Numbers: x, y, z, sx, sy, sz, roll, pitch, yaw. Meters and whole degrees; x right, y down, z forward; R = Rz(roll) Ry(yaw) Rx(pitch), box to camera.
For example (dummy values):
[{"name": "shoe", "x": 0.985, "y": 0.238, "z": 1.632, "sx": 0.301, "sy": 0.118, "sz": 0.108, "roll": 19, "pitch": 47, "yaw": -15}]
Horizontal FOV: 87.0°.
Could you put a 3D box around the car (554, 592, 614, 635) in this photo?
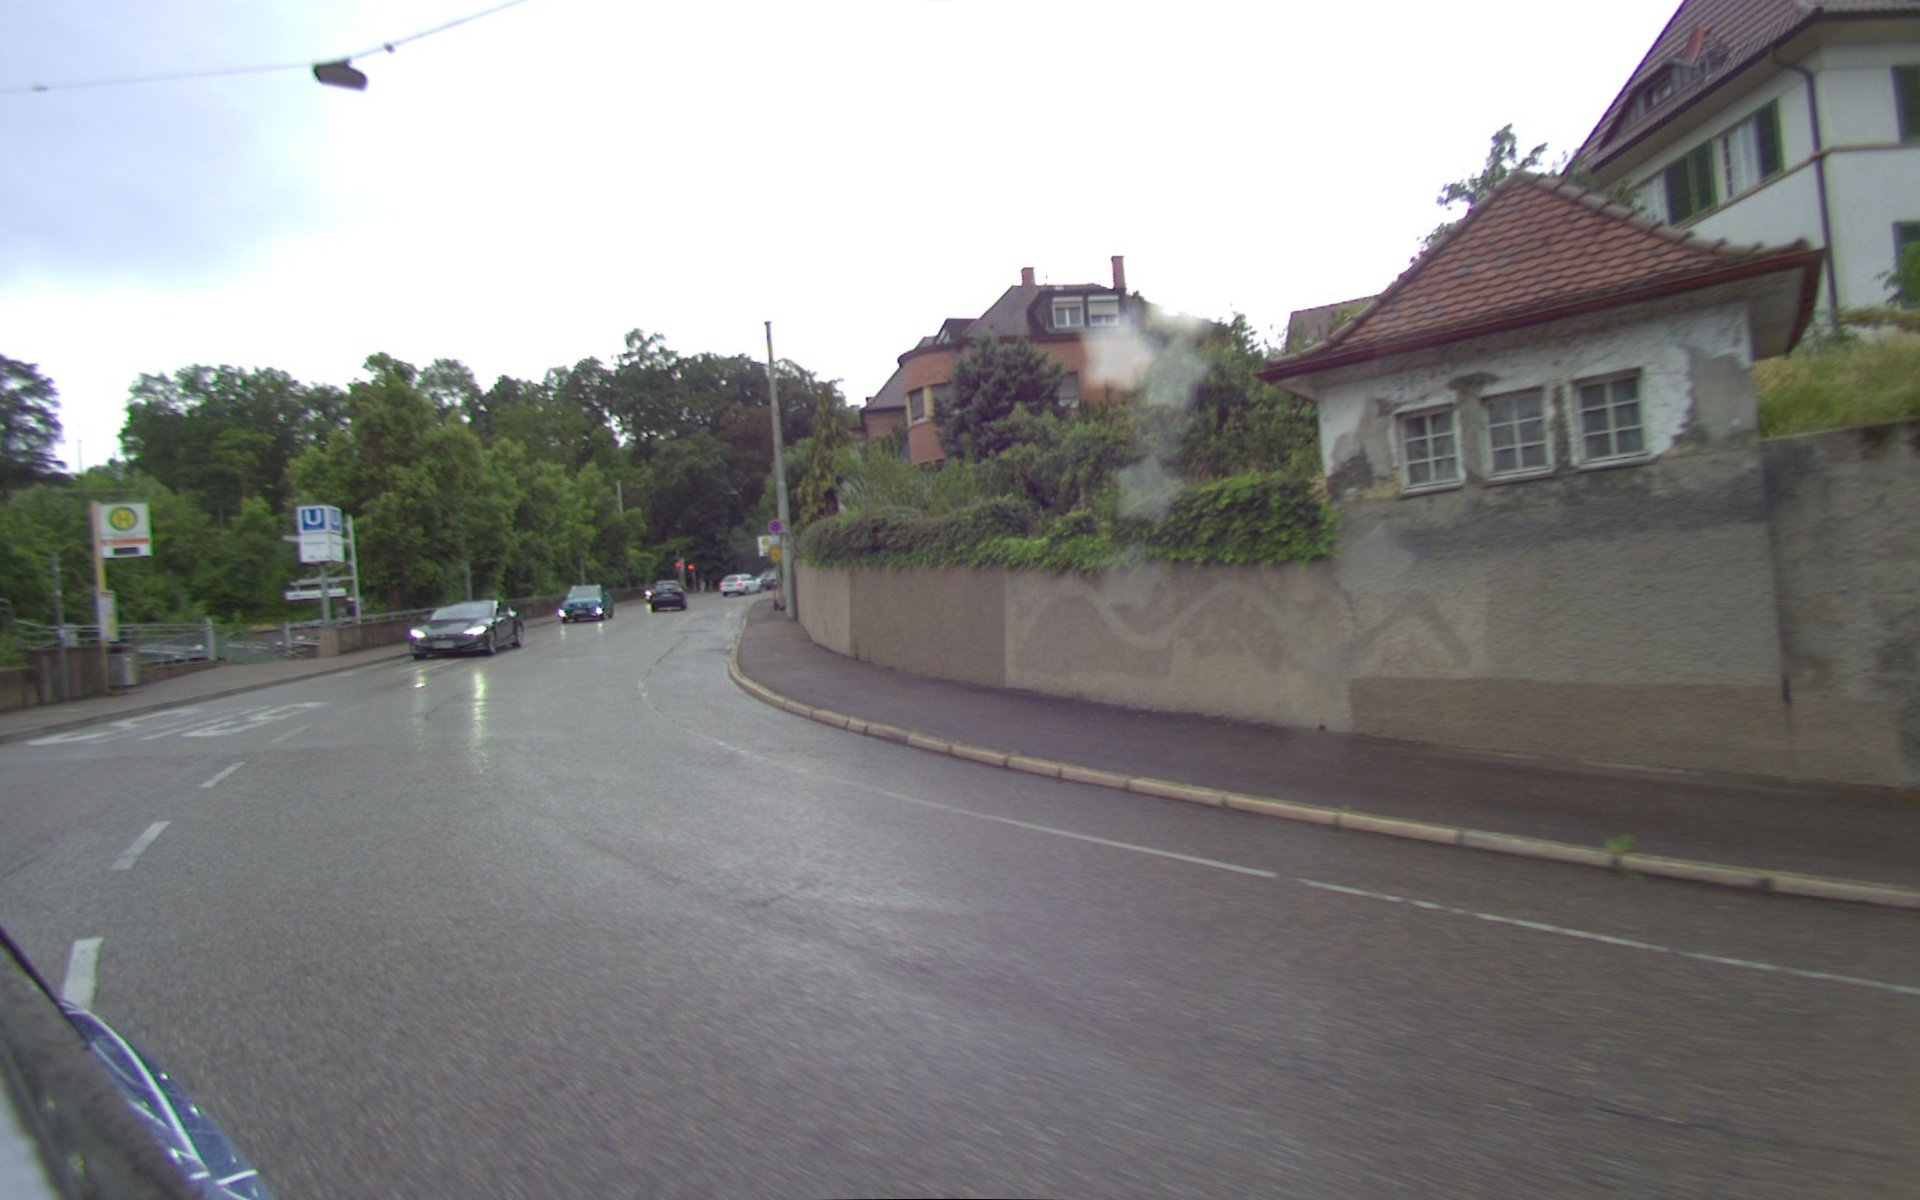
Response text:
[{"name": "car", "x": -16.692, "y": 0.620, "z": 45.096, "sx": 1.773, "sy": 1.622, "sz": 4.050, "roll": -5, "pitch": -2, "yaw": -12}]

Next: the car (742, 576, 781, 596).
[{"name": "car", "x": -15.709, "y": -1.108, "z": 80.099, "sx": 1.833, "sy": 1.405, "sz": 4.612, "roll": -5, "pitch": 4, "yaw": -25}]

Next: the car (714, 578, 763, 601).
[{"name": "car", "x": -15.983, "y": -0.792, "z": 73.315, "sx": 1.833, "sy": 1.485, "sz": 4.427, "roll": -2, "pitch": 2, "yaw": 11}]

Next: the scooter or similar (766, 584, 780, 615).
[{"name": "scooter or similar", "x": -7.564, "y": -0.038, "z": 40.971, "sx": 0.515, "sy": 1.212, "sz": 1.438, "roll": -2, "pitch": 1, "yaw": -11}]

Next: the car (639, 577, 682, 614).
[{"name": "car", "x": -20.716, "y": -0.277, "z": 70.163, "sx": 1.970, "sy": 2.029, "sz": 4.003, "roll": -5, "pitch": -5, "yaw": -5}]

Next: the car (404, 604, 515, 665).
[{"name": "car", "x": -13.271, "y": 0.851, "z": 27.090, "sx": 1.806, "sy": 1.402, "sz": 4.336, "roll": -2, "pitch": 1, "yaw": -15}]

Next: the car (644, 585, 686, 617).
[{"name": "car", "x": -15.397, "y": 0.022, "z": 53.023, "sx": 1.744, "sy": 1.532, "sz": 3.985, "roll": -3, "pitch": 1, "yaw": -11}]
